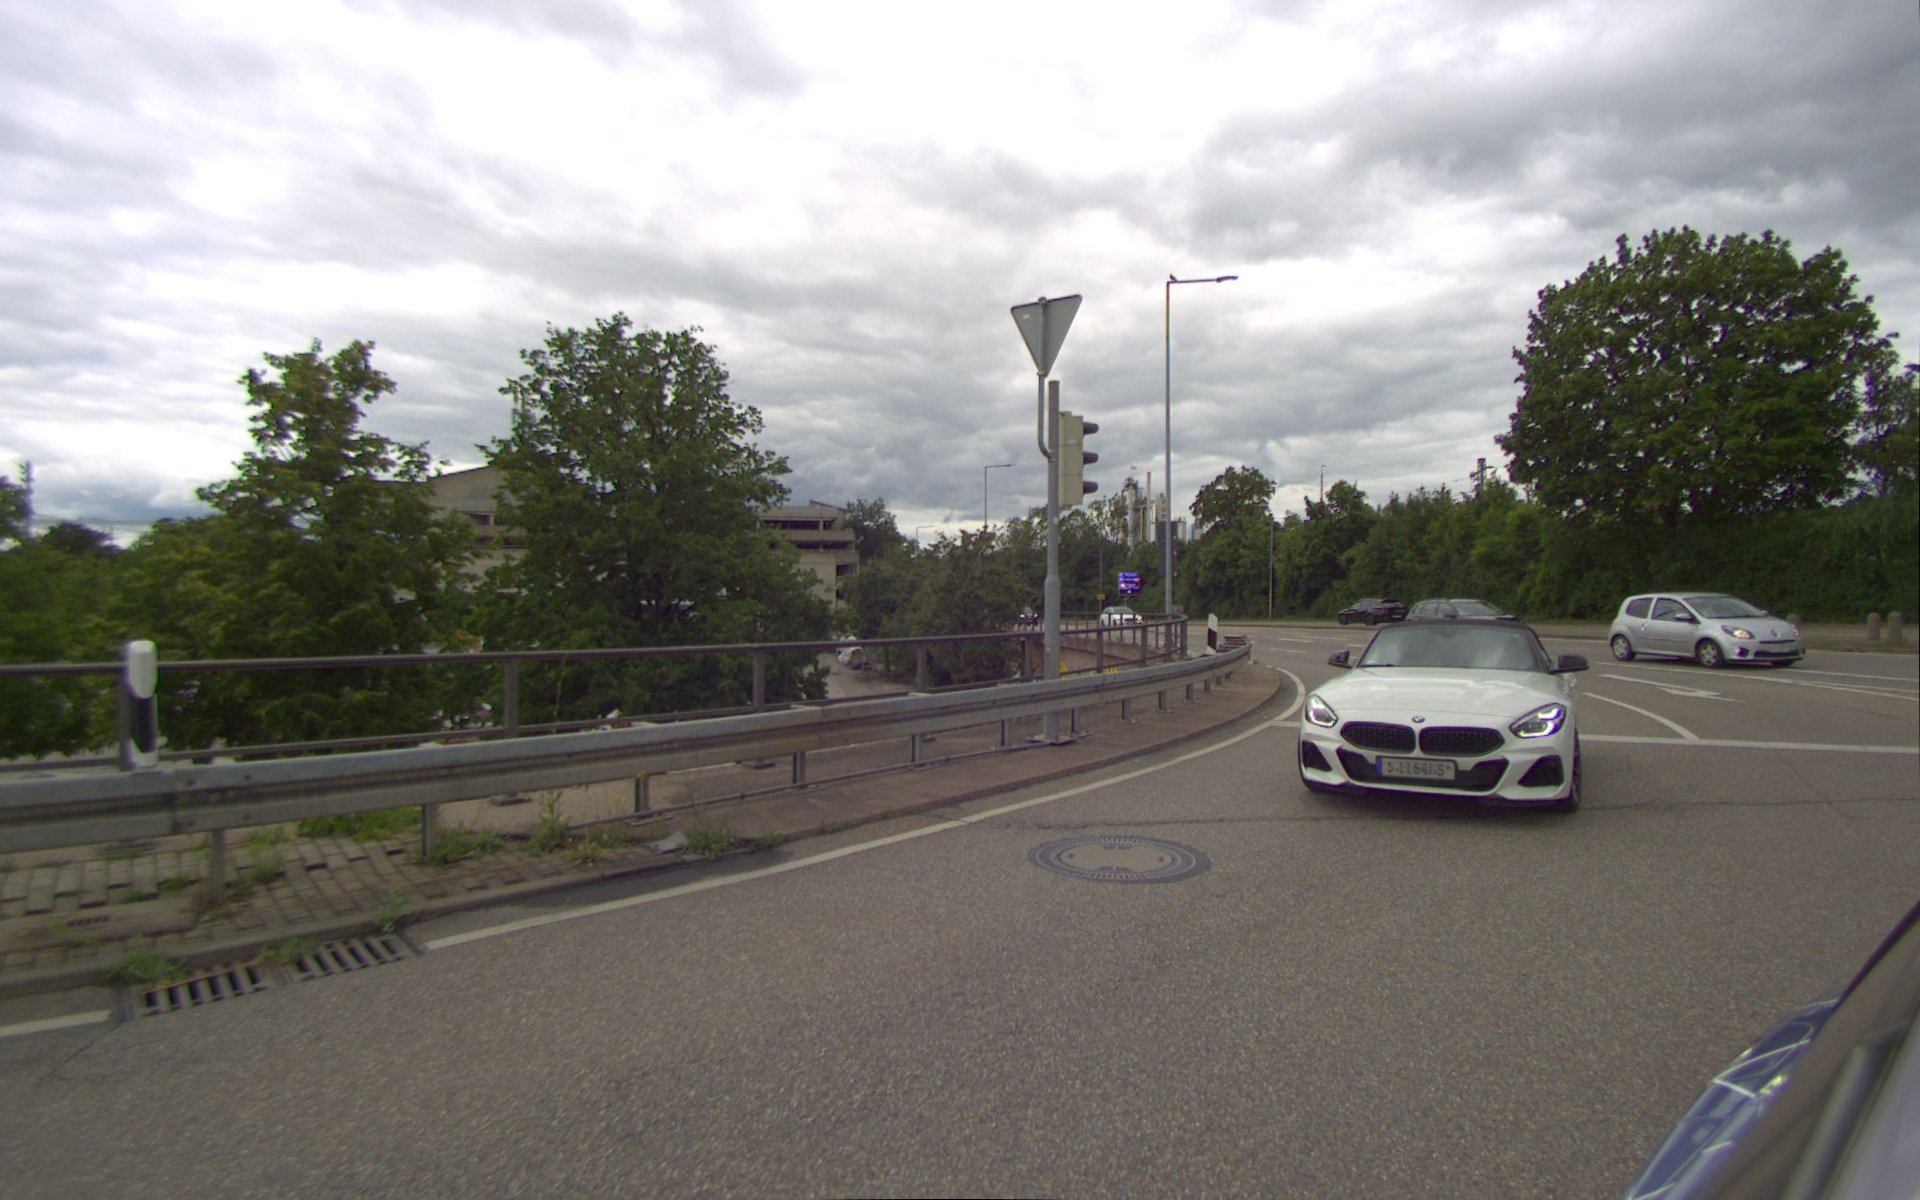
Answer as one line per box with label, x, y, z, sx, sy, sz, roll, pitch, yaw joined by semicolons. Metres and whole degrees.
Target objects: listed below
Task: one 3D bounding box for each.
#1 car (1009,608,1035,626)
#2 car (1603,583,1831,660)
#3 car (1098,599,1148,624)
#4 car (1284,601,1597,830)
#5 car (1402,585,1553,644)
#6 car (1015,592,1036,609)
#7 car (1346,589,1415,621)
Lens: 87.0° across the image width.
car;5.720;1.539;94.198;1.616;1.580;3.655;-1;0;-9
car;15.131;0.404;20.506;1.596;1.391;3.751;-1;0;-4
car;10.622;0.747;66.396;1.839;1.580;4.722;-1;0;-9
car;4.332;0.726;8.738;1.849;1.362;4.771;-2;0;31
car;15.047;0.402;29.735;1.909;1.576;4.298;-1;0;-5
car;7.636;0.035;118.451;1.616;2.039;3.606;-1;0;-11
car;21.859;0.284;52.761;1.616;1.580;3.849;-1;0;-7
